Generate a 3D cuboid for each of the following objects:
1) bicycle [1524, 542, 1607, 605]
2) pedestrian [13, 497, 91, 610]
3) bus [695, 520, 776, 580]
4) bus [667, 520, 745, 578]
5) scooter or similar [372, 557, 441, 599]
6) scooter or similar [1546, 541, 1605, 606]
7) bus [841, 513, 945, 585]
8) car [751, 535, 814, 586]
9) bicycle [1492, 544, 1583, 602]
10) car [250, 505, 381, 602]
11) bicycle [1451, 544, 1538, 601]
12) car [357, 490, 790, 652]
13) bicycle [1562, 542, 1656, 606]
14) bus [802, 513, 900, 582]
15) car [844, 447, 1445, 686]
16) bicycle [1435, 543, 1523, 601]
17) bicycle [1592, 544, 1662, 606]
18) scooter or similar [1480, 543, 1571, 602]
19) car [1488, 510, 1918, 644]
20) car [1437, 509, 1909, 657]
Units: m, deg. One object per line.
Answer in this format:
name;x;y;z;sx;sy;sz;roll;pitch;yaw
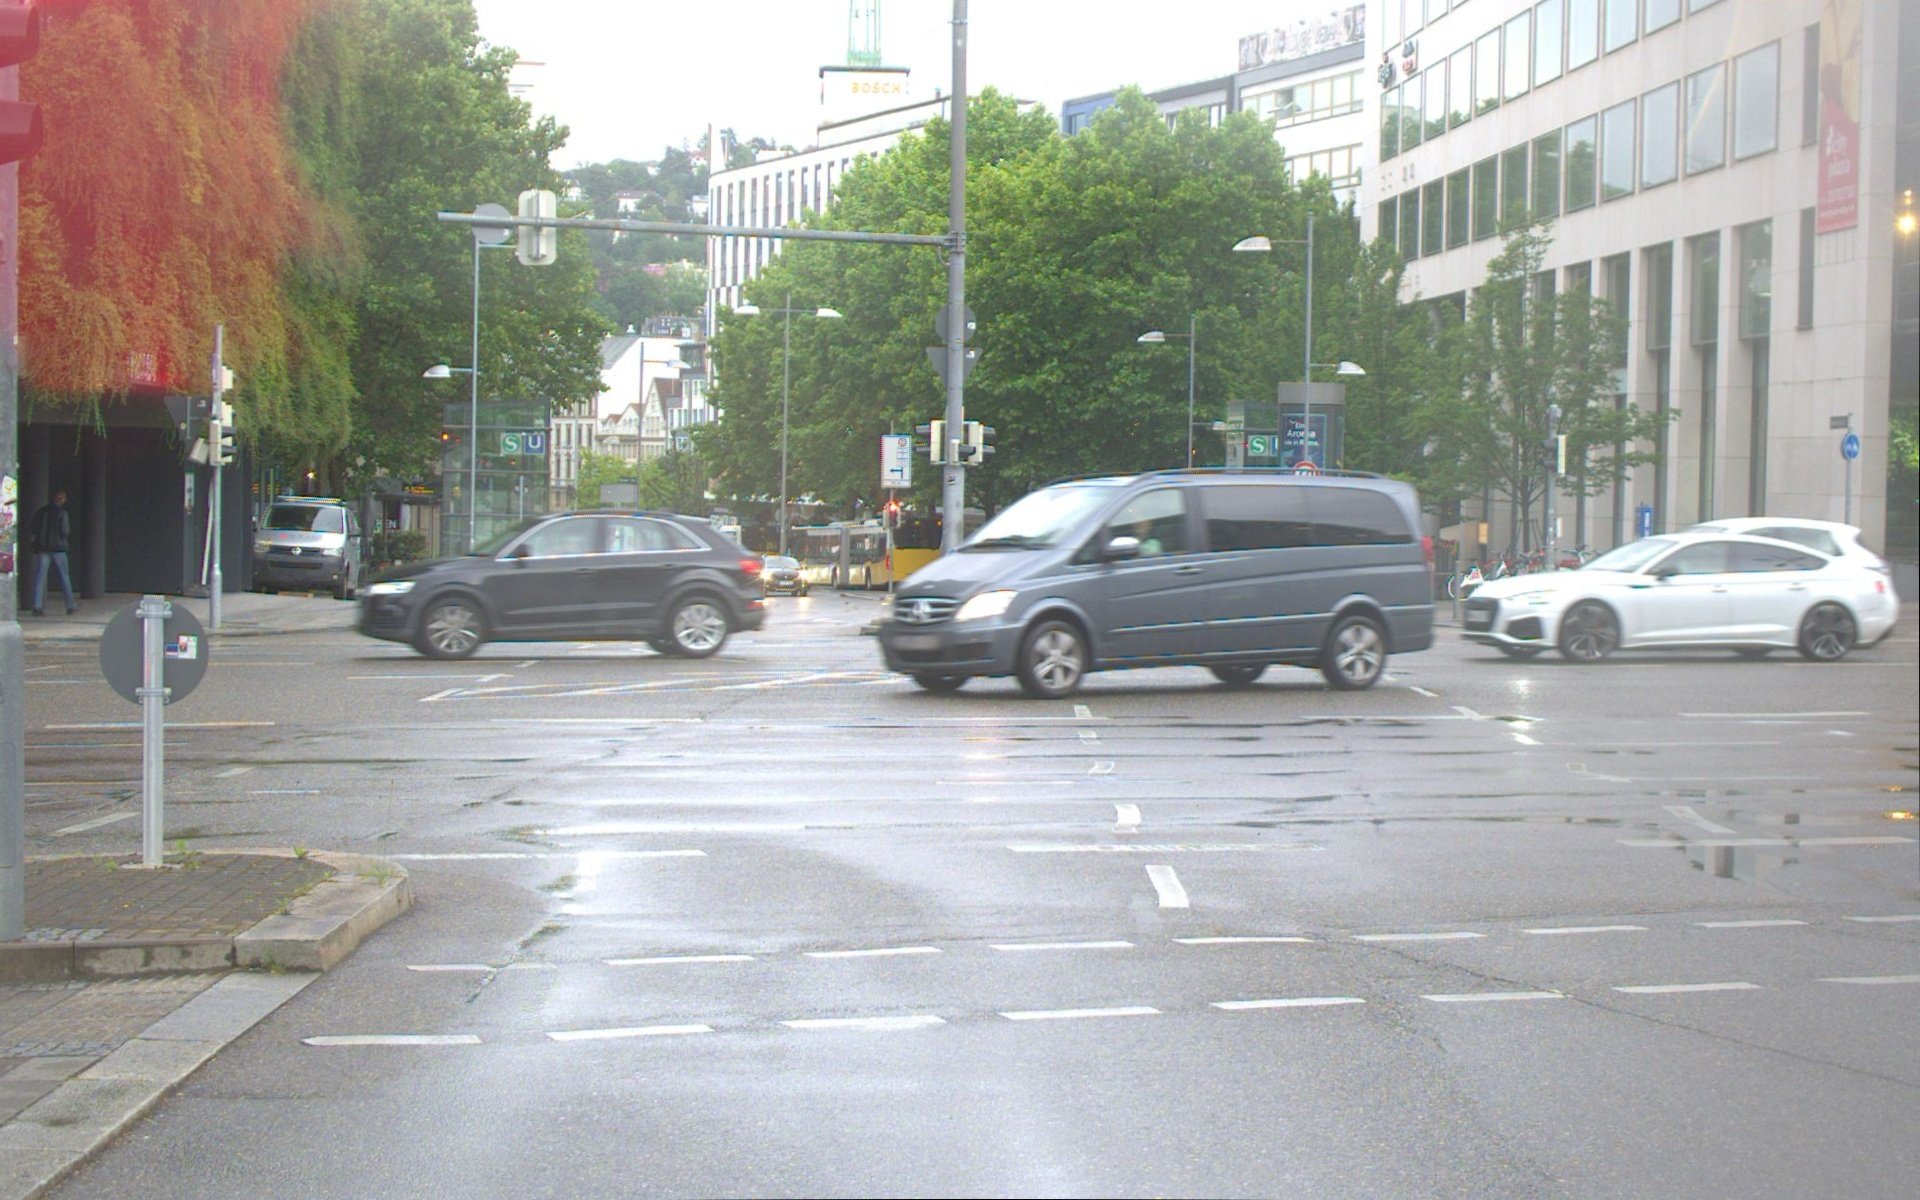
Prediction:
bicycle;11.694;-0.515;66.399;0.584;1.190;1.784;1;1;-28
pedestrian;-13.446;-0.687;50.923;0.933;1.638;0.774;1;0;-1
bus;-11.354;-2.539;173.238;2.627;2.985;7.330;0;1;-16
bus;-13.369;-2.717;180.334;2.627;2.985;7.451;0;1;-16
scooter or similar;-13.283;-0.539;82.551;0.623;1.001;1.657;1;1;38
scooter or similar;11.483;-0.496;64.162;0.963;1.190;0.454;1;1;40
bus;-2.898;-2.189;145.945;2.627;2.985;7.451;0;1;-16
car;-6.558;-1.438;126.653;2.164;1.759;5.113;2;0;-4
bicycle;12.025;-0.563;71.609;1.777;1.190;0.586;1;0;2
car;-12.775;-0.920;68.333;1.870;1.833;4.000;1;1;-1
bicycle;11.555;-0.597;74.330;1.777;1.190;0.586;1;0;2
car;-4.175;-0.307;36.847;4.402;1.632;2.001;1;1;-13
bicycle;12.237;-0.492;64.847;1.624;1.190;0.586;1;0;26
bus;-4.911;-2.360;153.091;2.627;2.985;7.451;0;1;-16
car;1.643;-0.271;29.767;4.949;1.920;2.000;0;1;-33
bicycle;10.978;-0.589;72.778;1.777;1.190;0.586;1;0;2
bicycle;12.997;-0.490;66.956;0.586;1.190;1.779;1;1;38
scooter or similar;11.671;-0.562;70.986;1.777;1.190;0.586;1;0;2
car;8.850;-0.267;41.020;4.682;1.507;1.811;1;1;-16
car;7.721;-0.179;37.308;4.682;1.507;1.811;1;1;-16
